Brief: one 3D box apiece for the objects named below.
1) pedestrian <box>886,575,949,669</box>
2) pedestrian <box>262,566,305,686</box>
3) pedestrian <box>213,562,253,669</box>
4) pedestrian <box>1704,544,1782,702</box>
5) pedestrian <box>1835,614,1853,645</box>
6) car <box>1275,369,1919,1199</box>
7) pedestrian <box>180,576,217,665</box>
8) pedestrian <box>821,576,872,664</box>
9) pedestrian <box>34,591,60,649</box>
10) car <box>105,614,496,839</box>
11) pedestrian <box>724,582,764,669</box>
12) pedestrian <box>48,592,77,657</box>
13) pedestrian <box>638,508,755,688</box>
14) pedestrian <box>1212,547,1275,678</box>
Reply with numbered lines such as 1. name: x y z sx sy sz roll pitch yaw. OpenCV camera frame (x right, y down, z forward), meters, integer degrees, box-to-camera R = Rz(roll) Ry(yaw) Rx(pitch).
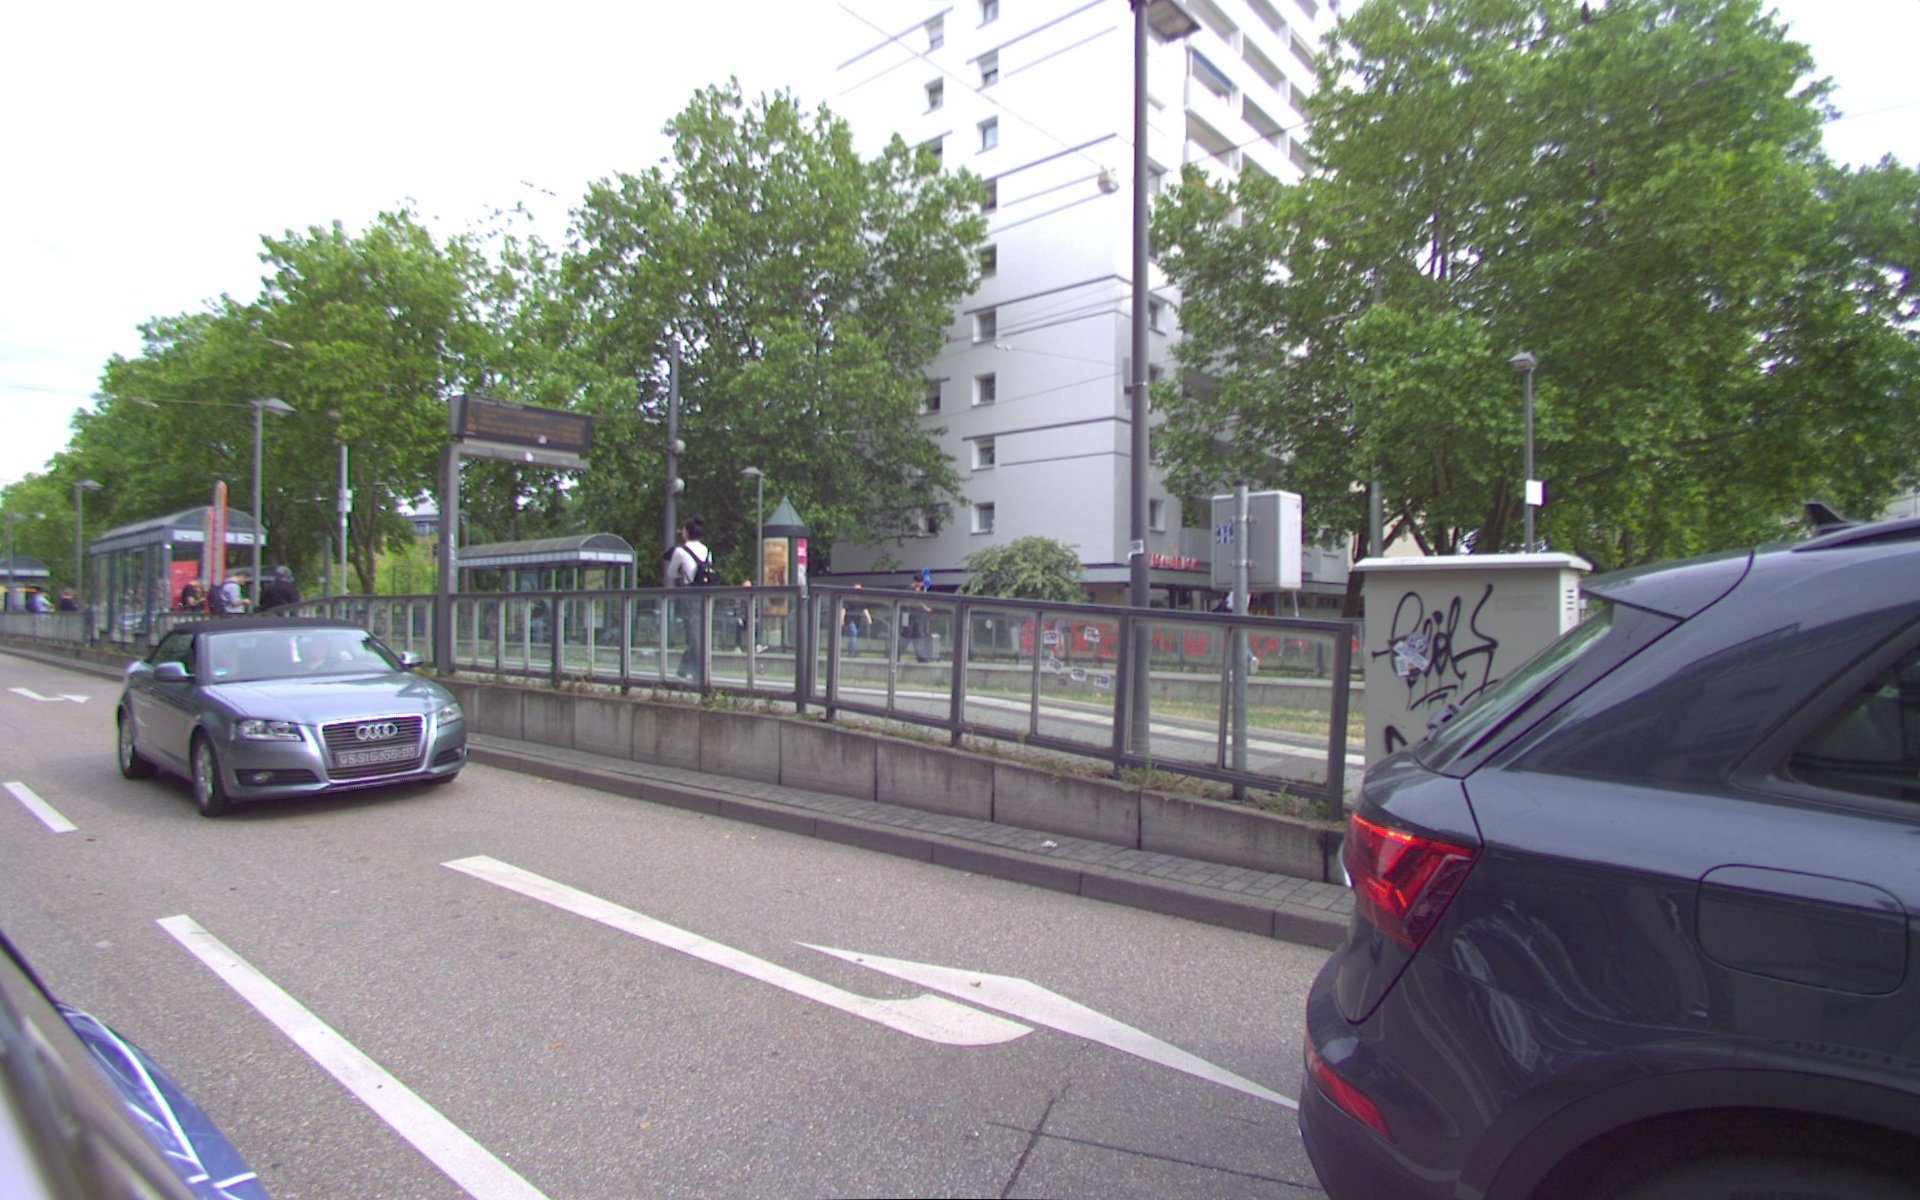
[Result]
1. pedestrian: -0.827 0.419 19.610 0.850 1.769 0.871 -1 0 41
2. pedestrian: -10.529 0.388 15.754 0.513 1.818 0.606 -1 0 -37
3. pedestrian: -12.705 0.265 17.682 0.605 1.818 0.469 -1 0 45
4. pedestrian: 9.136 0.254 11.807 0.666 1.763 0.728 -1 0 41
5. pedestrian: 59.479 1.969 68.083 0.668 2.029 0.668 -1 0 12
6. car: 2.690 0.530 0.985 4.225 1.649 1.715 -1 0 41
7. pedestrian: -15.924 0.417 21.175 0.467 1.818 0.607 -1 0 -24
8. pedestrian: -2.464 0.423 21.996 0.666 1.848 0.871 -1 0 41
9. pedestrian: -29.037 0.622 32.197 0.523 1.818 0.607 -1 0 -35
10. car: -5.636 0.831 8.437 4.097 1.398 1.694 -1 0 41
11. pedestrian: -4.955 0.572 23.223 0.553 1.945 0.690 -1 0 41
12. pedestrian: -25.568 0.691 28.835 0.523 1.818 0.607 -1 0 -35
13. pedestrian: -2.634 -0.018 10.083 0.979 1.683 0.711 -1 0 44
14. pedestrian: 4.400 0.184 15.706 0.666 1.965 0.728 -1 0 41
